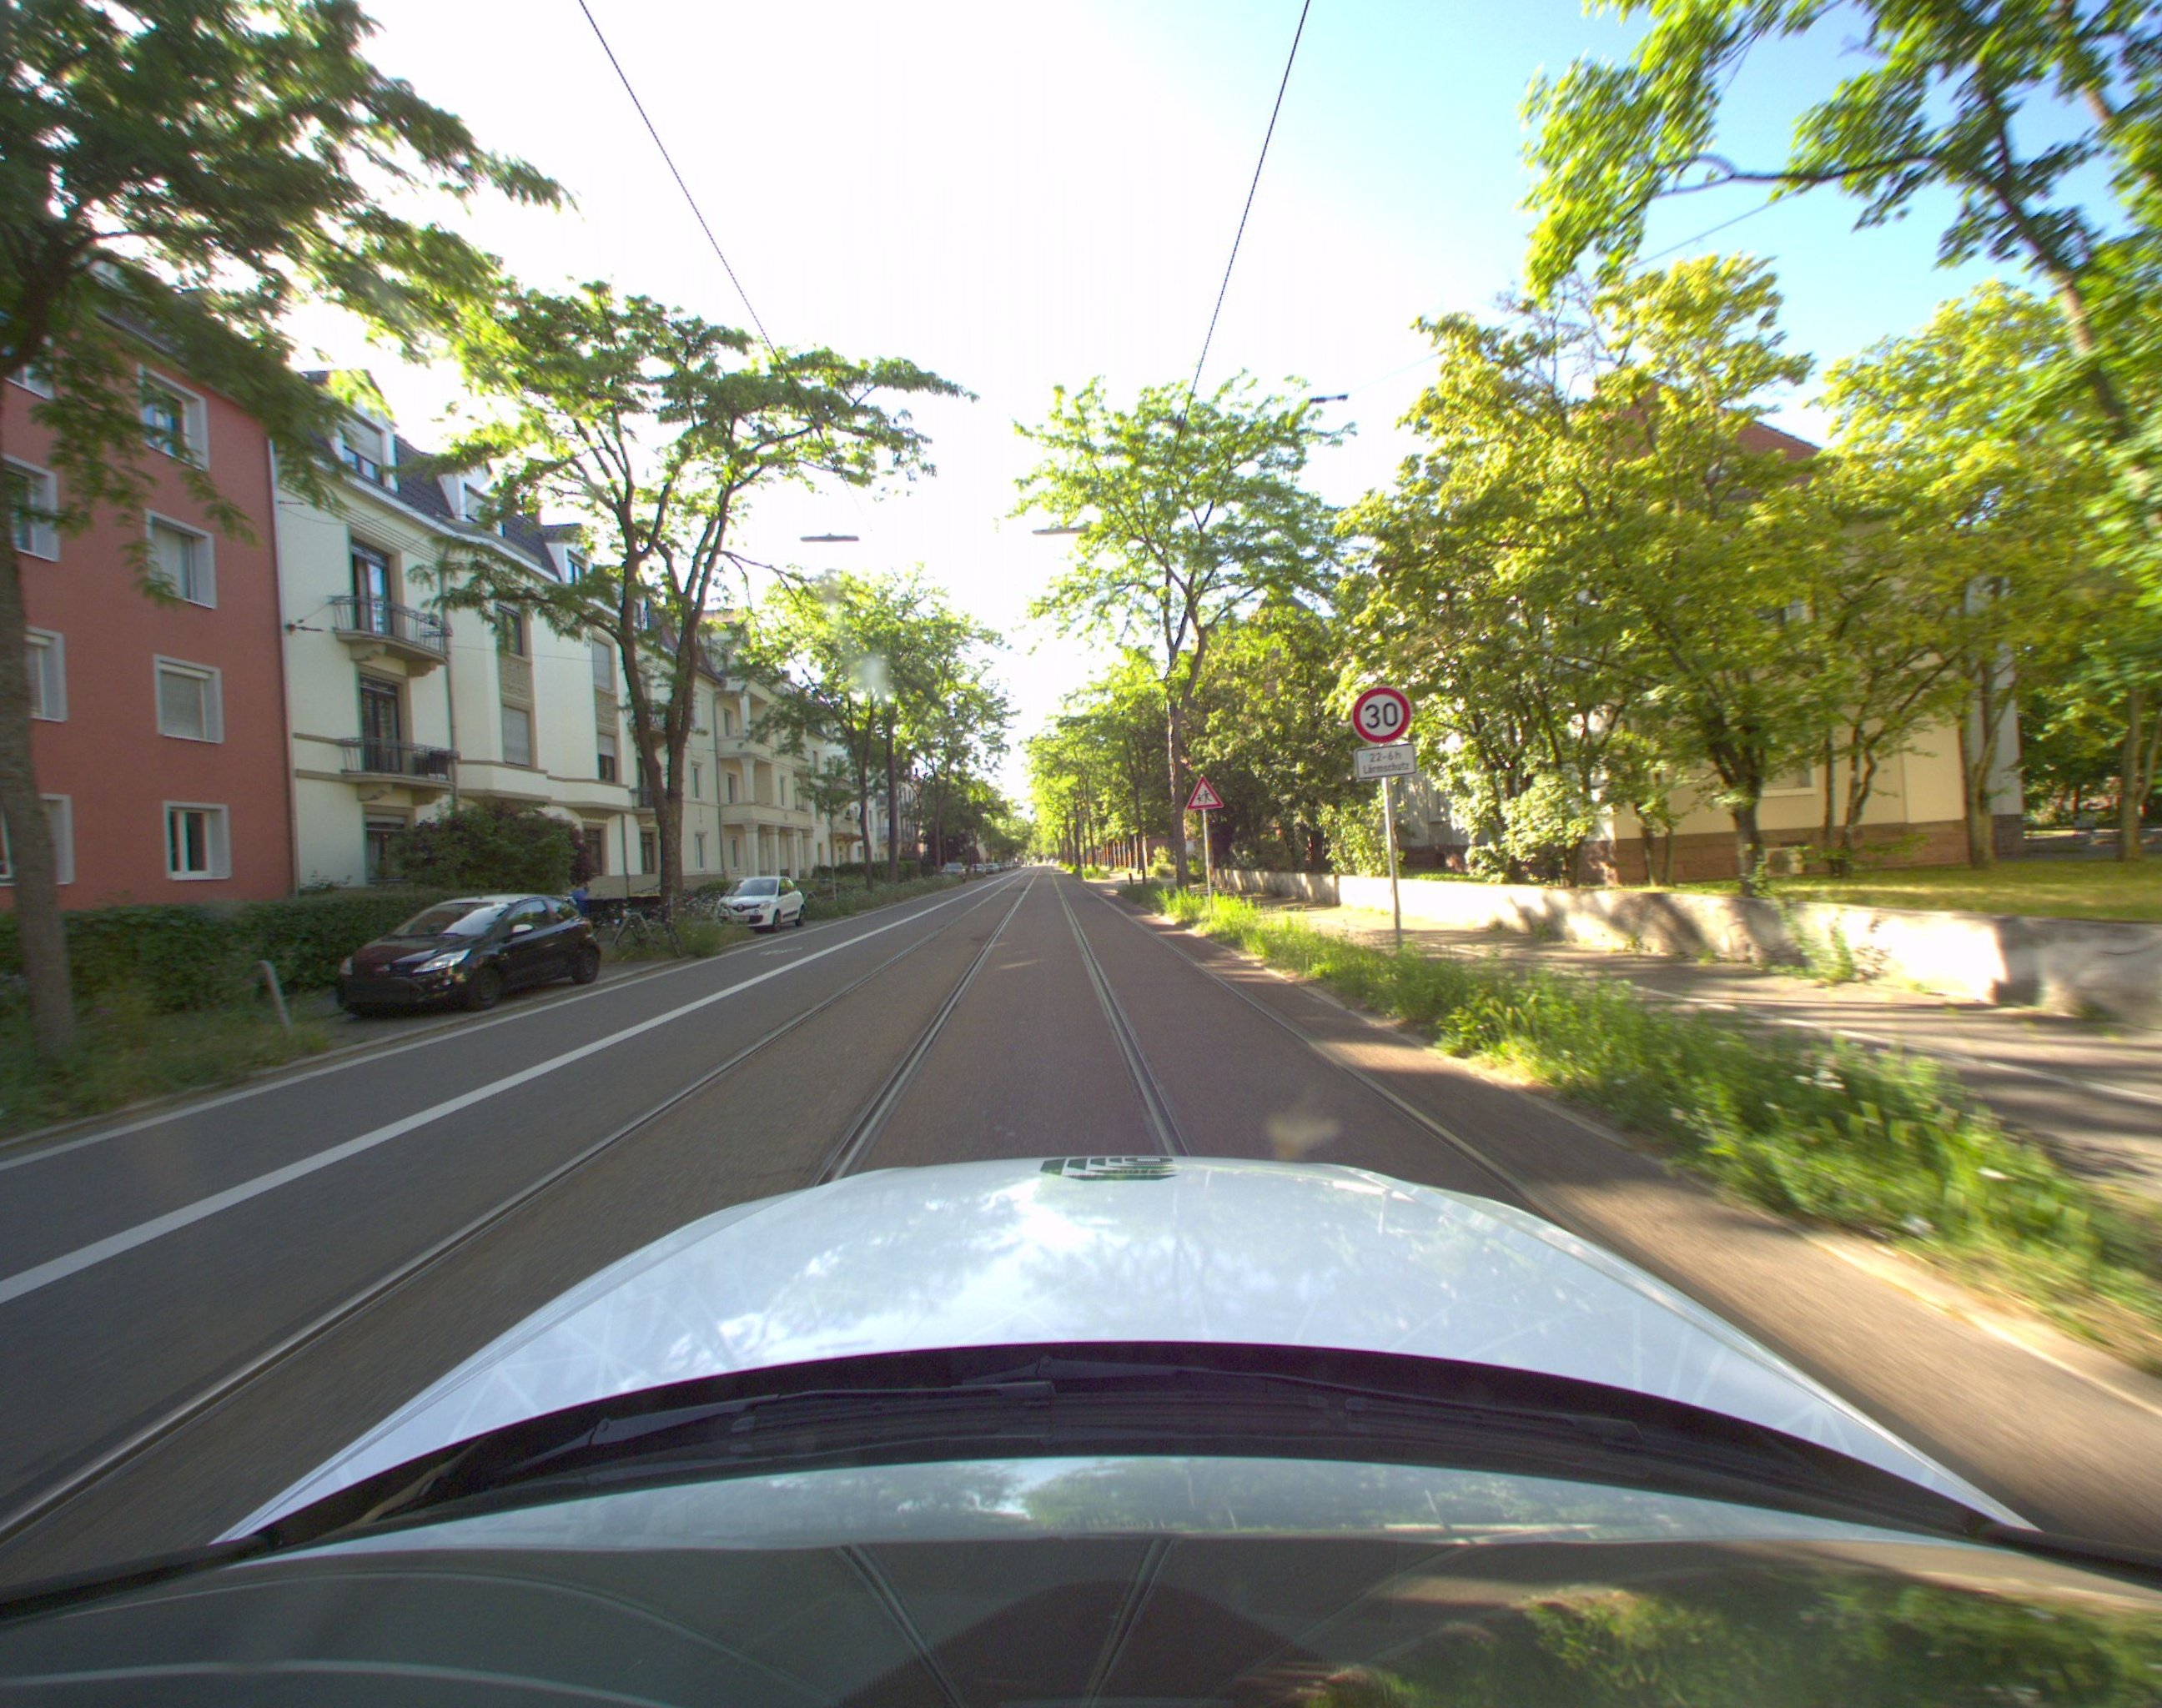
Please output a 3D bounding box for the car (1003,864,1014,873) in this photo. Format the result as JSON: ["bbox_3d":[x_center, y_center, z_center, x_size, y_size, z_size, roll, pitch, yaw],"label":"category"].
[{"bbox_3d":[-13.358,2.723,151.040,1.813,1.485,4.202,-2,0,-3],"label":"car"}]

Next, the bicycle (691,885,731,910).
[{"bbox_3d":[-15.709,1.852,34.570,1.838,0.996,0.562,-1,1,31],"label":"bicycle"}]

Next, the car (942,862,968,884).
[{"bbox_3d":[-10.977,1.639,71.178,1.867,1.823,4.763,-2,0,-5],"label":"car"}]

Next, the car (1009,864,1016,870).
[{"bbox_3d":[-16.294,3.103,194.398,1.557,1.457,3.924,0,-1,-5],"label":"car"}]

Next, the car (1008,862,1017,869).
[{"bbox_3d":[-14.827,2.591,176.969,1.698,1.485,4.074,0,-1,-3],"label":"car"}]

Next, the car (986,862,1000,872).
[{"bbox_3d":[-13.769,2.040,127.600,1.813,1.511,4.365,-2,0,-4],"label":"car"}]

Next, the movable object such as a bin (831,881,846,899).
[{"bbox_3d":[-13.332,1.969,44.765,0.626,0.921,0.739,-2,-1,-3],"label":"movable object such as a bin"}]

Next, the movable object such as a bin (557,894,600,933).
[{"bbox_3d":[-15.558,1.840,25.224,0.736,1.113,0.894,-3,-1,-3],"label":"movable object such as a bin"}]

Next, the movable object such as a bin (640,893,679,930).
[{"bbox_3d":[-13.127,1.776,25.378,0.736,1.041,0.894,-3,-1,-3],"label":"movable object such as a bin"}]

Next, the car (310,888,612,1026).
[{"bbox_3d":[-8.466,1.301,11.578,1.550,1.454,3.664,-2,0,-3],"label":"car"}]

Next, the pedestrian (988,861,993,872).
[{"bbox_3d":[-15.675,2.143,141.152,0.690,1.801,0.812,-3,-1,-3],"label":"pedestrian"}]

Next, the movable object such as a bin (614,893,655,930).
[{"bbox_3d":[-13.880,1.791,25.345,0.736,1.054,0.894,-3,-1,-3],"label":"movable object such as a bin"}]

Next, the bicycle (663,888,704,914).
[{"bbox_3d":[-16.021,1.873,32.833,1.838,0.996,0.562,-1,1,31],"label":"bicycle"}]

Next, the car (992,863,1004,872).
[{"bbox_3d":[-14.003,2.297,137.811,1.754,1.511,4.432,-2,0,-4],"label":"car"}]

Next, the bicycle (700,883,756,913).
[{"bbox_3d":[-13.747,1.707,31.761,0.551,0.996,1.873,-4,-1,44],"label":"bicycle"}]

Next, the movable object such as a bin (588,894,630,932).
[{"bbox_3d":[-14.641,1.819,25.296,0.736,1.085,0.894,-3,-1,-3],"label":"movable object such as a bin"}]

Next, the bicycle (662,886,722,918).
[{"bbox_3d":[-14.083,1.735,29.496,1.869,0.996,0.553,-3,-1,-32],"label":"bicycle"}]

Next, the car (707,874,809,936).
[{"bbox_3d":[-9.183,1.399,23.453,1.622,1.535,3.684,-2,0,-4],"label":"car"}]

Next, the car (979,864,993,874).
[{"bbox_3d":[-13.534,2.109,115.926,1.702,1.406,4.328,-2,0,-4],"label":"car"}]

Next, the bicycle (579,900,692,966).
[{"bbox_3d":[-8.557,1.512,15.680,1.808,1.121,0.542,-3,-1,-3],"label":"bicycle"}]
